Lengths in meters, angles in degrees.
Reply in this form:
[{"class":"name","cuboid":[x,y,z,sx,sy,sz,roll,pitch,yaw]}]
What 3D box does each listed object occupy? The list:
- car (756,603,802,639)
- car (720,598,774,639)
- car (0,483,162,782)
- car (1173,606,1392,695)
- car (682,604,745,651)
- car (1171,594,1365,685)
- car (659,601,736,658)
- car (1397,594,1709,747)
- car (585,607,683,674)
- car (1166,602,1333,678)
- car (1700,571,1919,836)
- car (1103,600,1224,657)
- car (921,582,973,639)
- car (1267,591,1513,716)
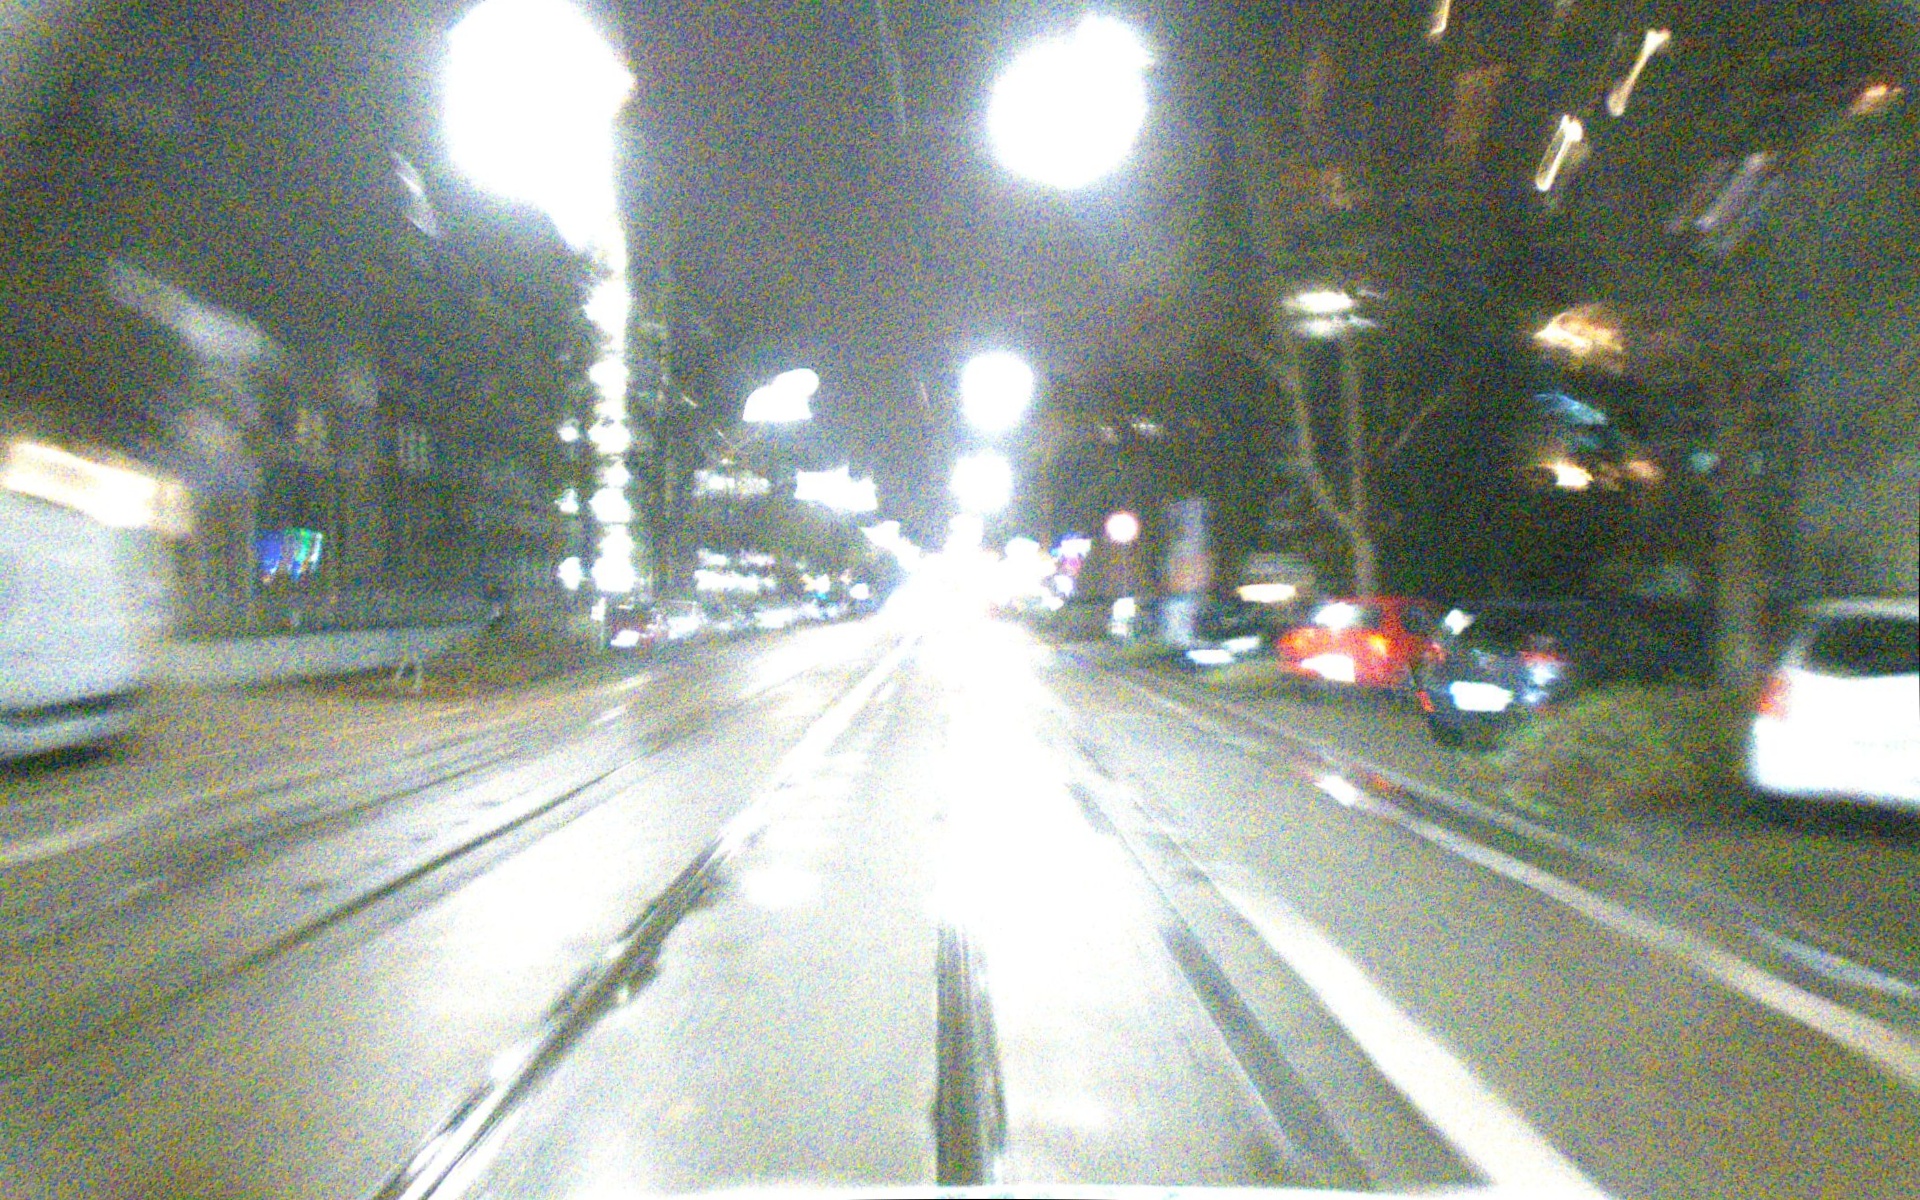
[{"class":"car","cuboid":[-9.570,1.138,87.816,1.982,1.791,3.999,2,-1,-1]},{"class":"car","cuboid":[-9.851,0.877,76.793,1.982,1.791,3.999,2,-1,-1]},{"class":"car","cuboid":[-9.162,0.242,14.269,1.984,2.542,5.604,2,0,-3]},{"class":"car","cuboid":[5.980,0.914,30.377,1.919,1.480,4.217,1,-1,45]},{"class":"car","cuboid":[-9.999,1.117,67.411,1.982,1.791,3.999,2,-1,-1]},{"class":"car","cuboid":[6.477,0.818,34.464,1.996,1.728,4.219,1,-1,43]},{"class":"car","cuboid":[-8.957,1.001,56.711,1.959,1.816,3.999,2,-1,-1]},{"class":"car","cuboid":[6.486,0.707,17.900,3.797,1.455,1.612,1,0,-43]},{"class":"car","cuboid":[-9.440,1.162,48.283,2.066,1.795,4.962,2,-1,-3]},{"class":"car","cuboid":[6.625,0.902,37.638,1.878,1.600,3.935,1,-1,44]},{"class":"car","cuboid":[6.720,0.673,11.684,1.673,1.560,3.730,3,1,41]},{"class":"car","cuboid":[6.197,0.878,49.995,1.874,1.600,3.944,1,-1,38]},{"class":"car","cuboid":[-0.651,0.481,75.226,2.172,2.484,5.381,1,0,-2]},{"class":"car","cuboid":[6.375,0.762,24.312,2.019,1.652,3.807,1,-1,41]}]
